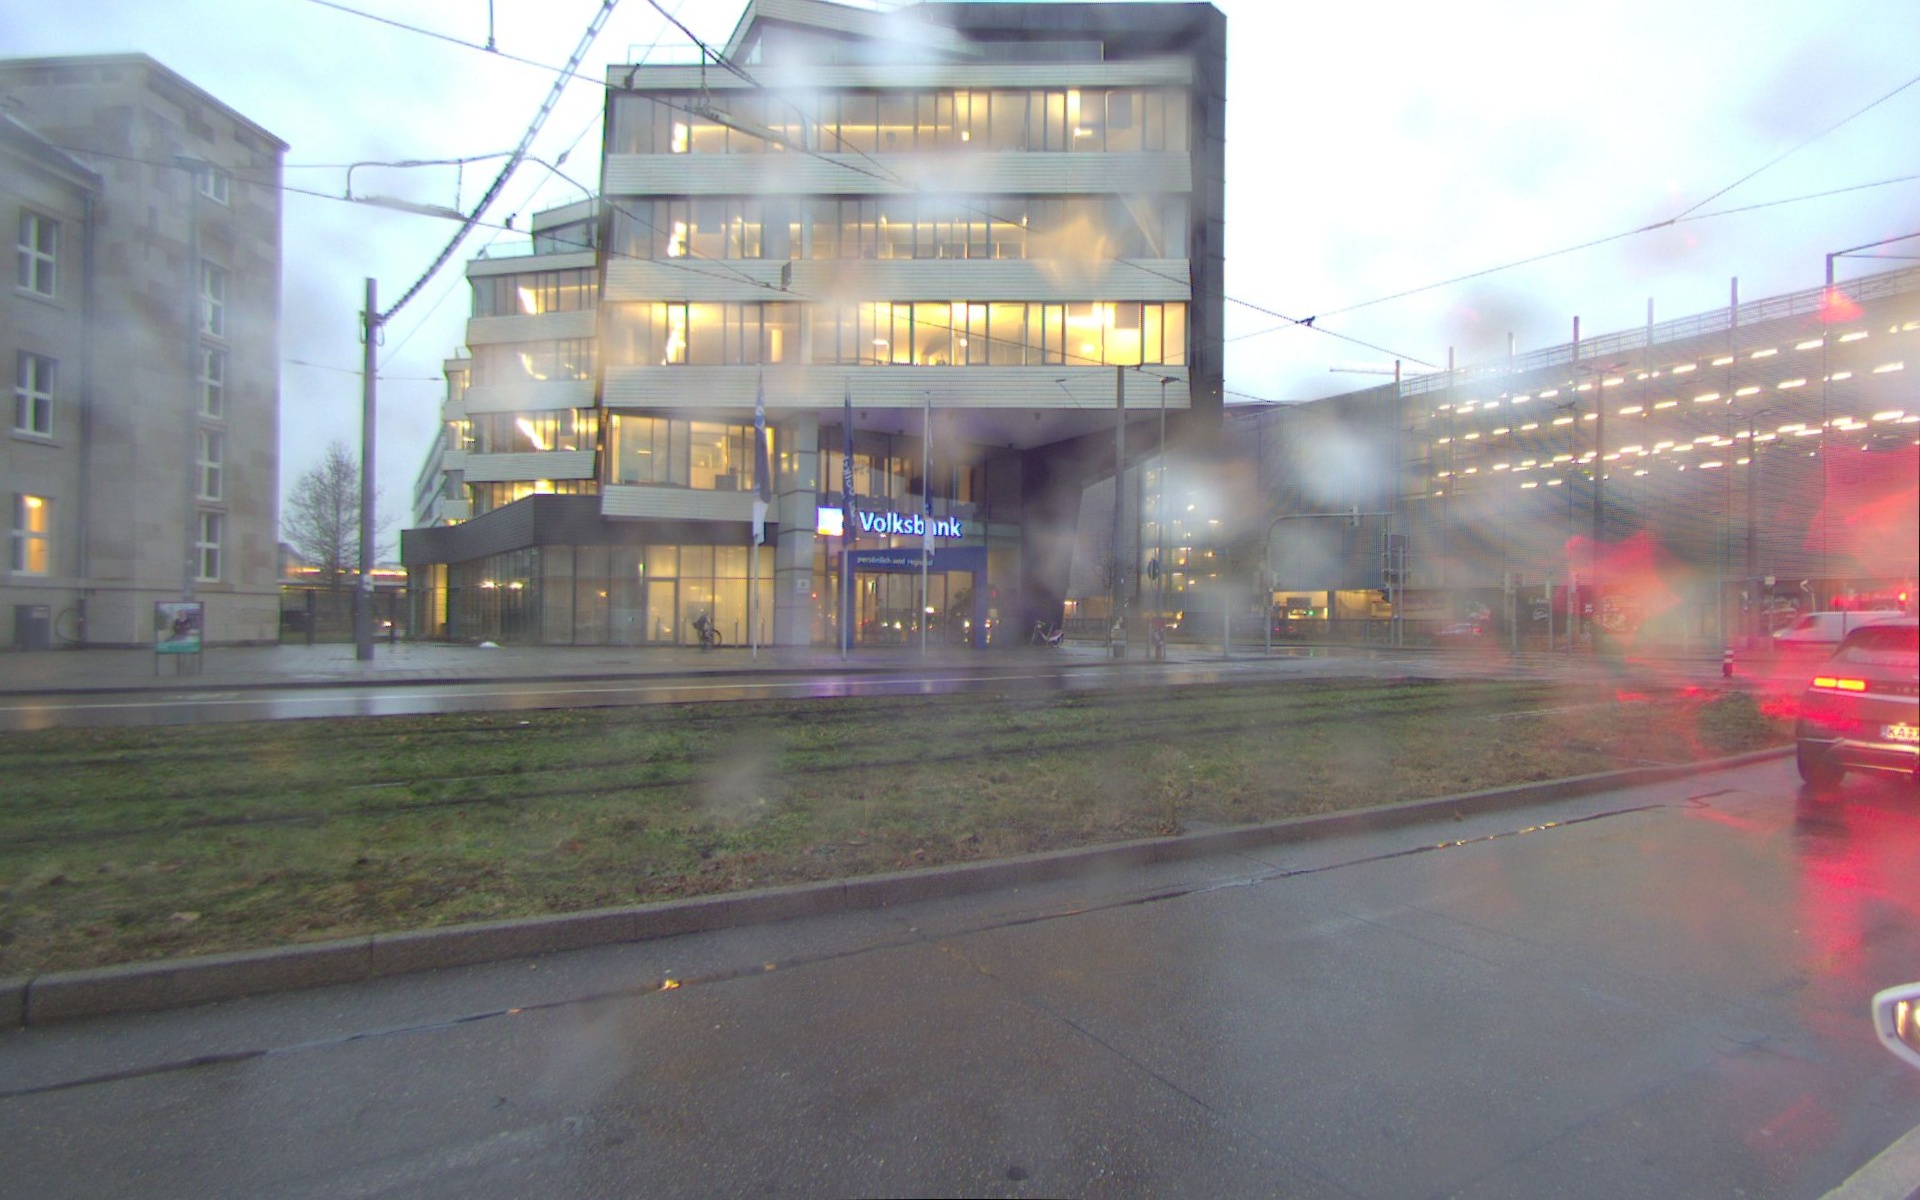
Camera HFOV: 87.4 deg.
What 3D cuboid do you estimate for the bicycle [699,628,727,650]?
[{"bbox_3d":[-8.618,1.361,35.064,0.896,0.724,0.483,1,-1,-10],"label":"bicycle"}]

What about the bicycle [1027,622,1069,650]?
[{"bbox_3d":[3.526,1.451,40.108,1.588,1.105,0.553,1,-1,-23],"label":"bicycle"}]

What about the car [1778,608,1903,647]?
[{"bbox_3d":[47.306,1.451,54.071,1.782,2.027,4.806,1,-1,-36],"label":"car"}]

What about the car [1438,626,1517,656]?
[{"bbox_3d":[36.917,2.898,71.750,1.782,2.027,4.806,1,-1,-36],"label":"car"}]

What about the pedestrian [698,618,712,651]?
[{"bbox_3d":[-8.730,1.182,34.356,0.380,1.103,0.325,0,-1,5],"label":"pedestrian"}]

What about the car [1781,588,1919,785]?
[{"bbox_3d":[9.390,0.741,9.295,3.959,1.595,1.742,1,-1,-34],"label":"car"}]
